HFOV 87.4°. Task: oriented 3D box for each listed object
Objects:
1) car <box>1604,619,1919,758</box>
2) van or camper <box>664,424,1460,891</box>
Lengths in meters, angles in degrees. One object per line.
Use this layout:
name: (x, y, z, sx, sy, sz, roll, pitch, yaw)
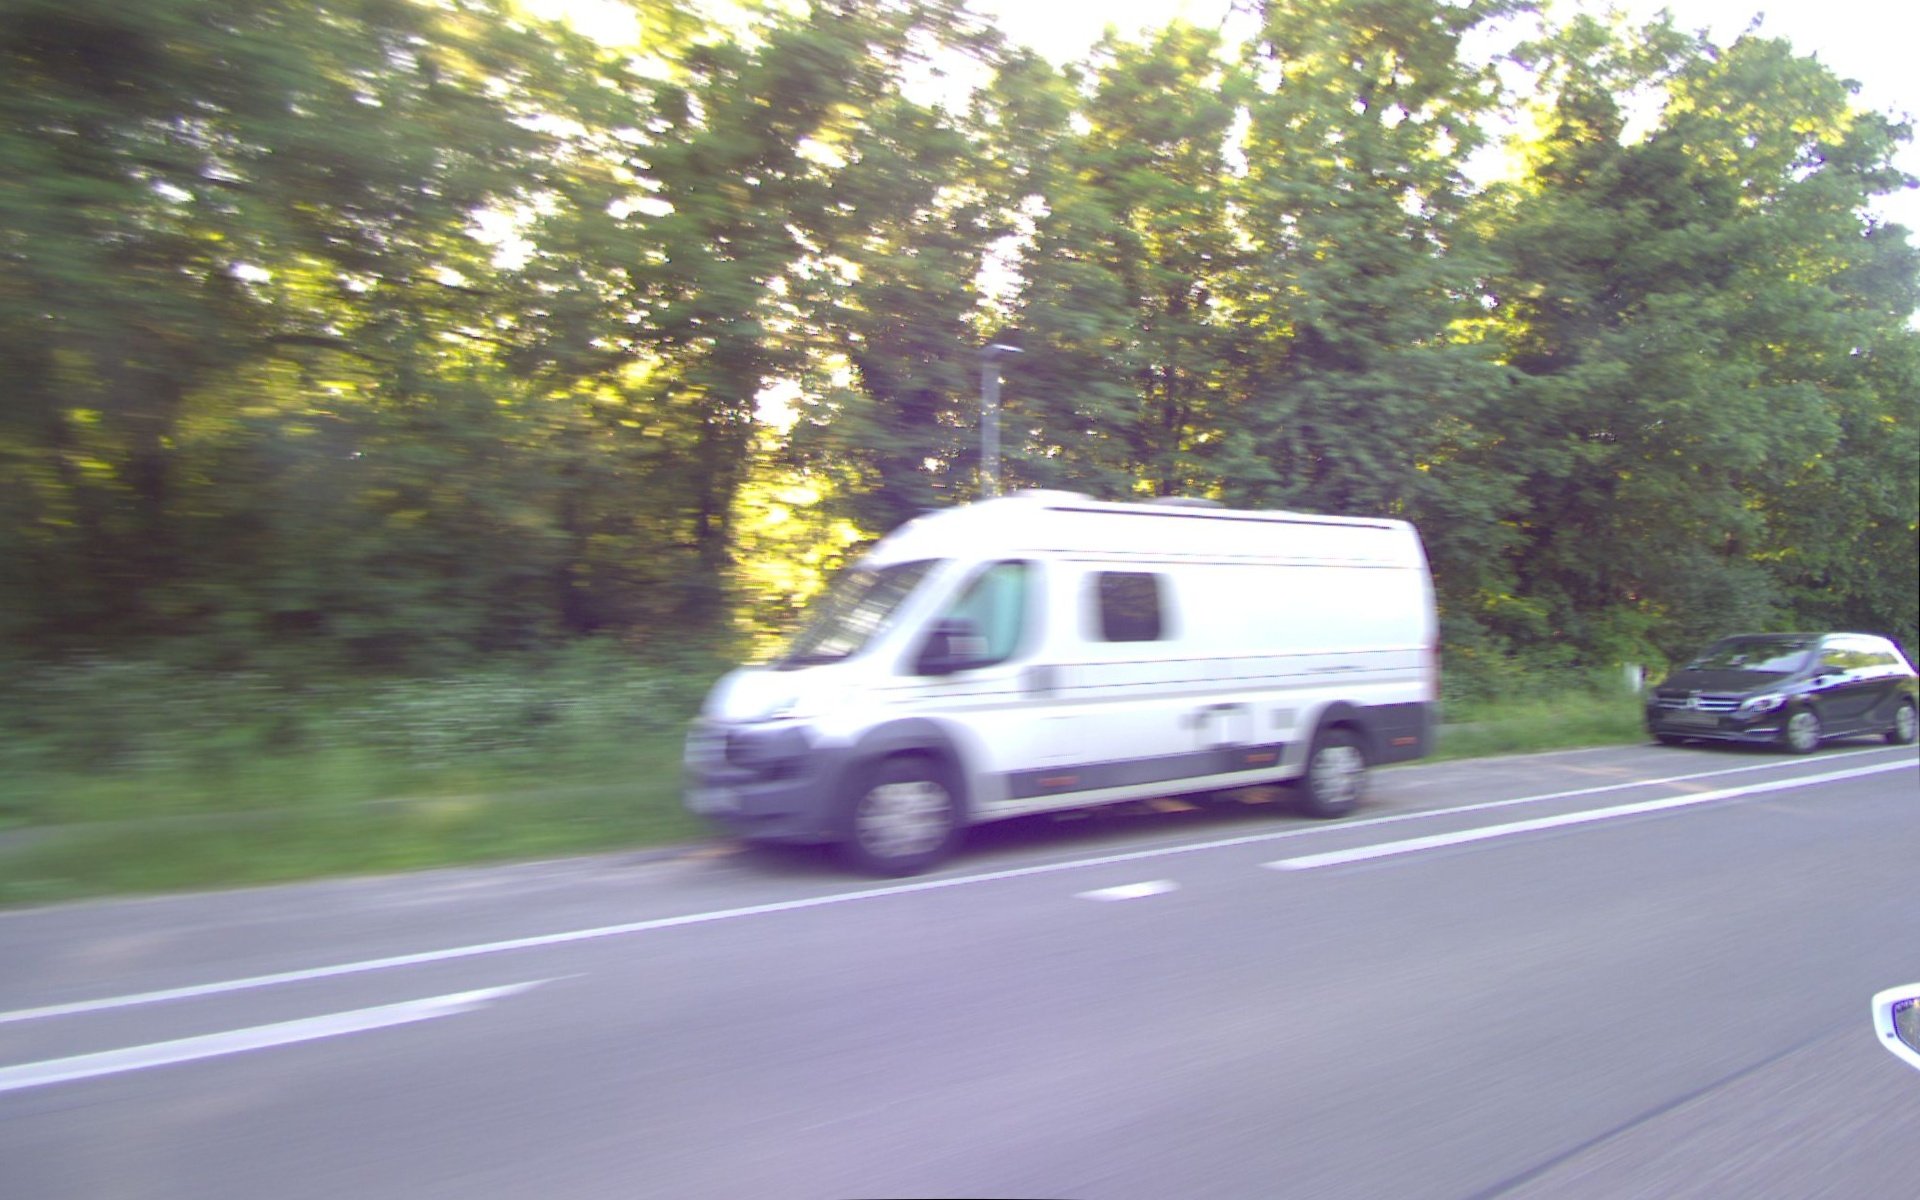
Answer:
car: (11.265, 1.148, 13.980, 4.316, 1.706, 1.777, 1, -2, -24)
van or camper: (1.116, 0.392, 8.173, 6.465, 2.606, 2.111, 1, -1, -30)
